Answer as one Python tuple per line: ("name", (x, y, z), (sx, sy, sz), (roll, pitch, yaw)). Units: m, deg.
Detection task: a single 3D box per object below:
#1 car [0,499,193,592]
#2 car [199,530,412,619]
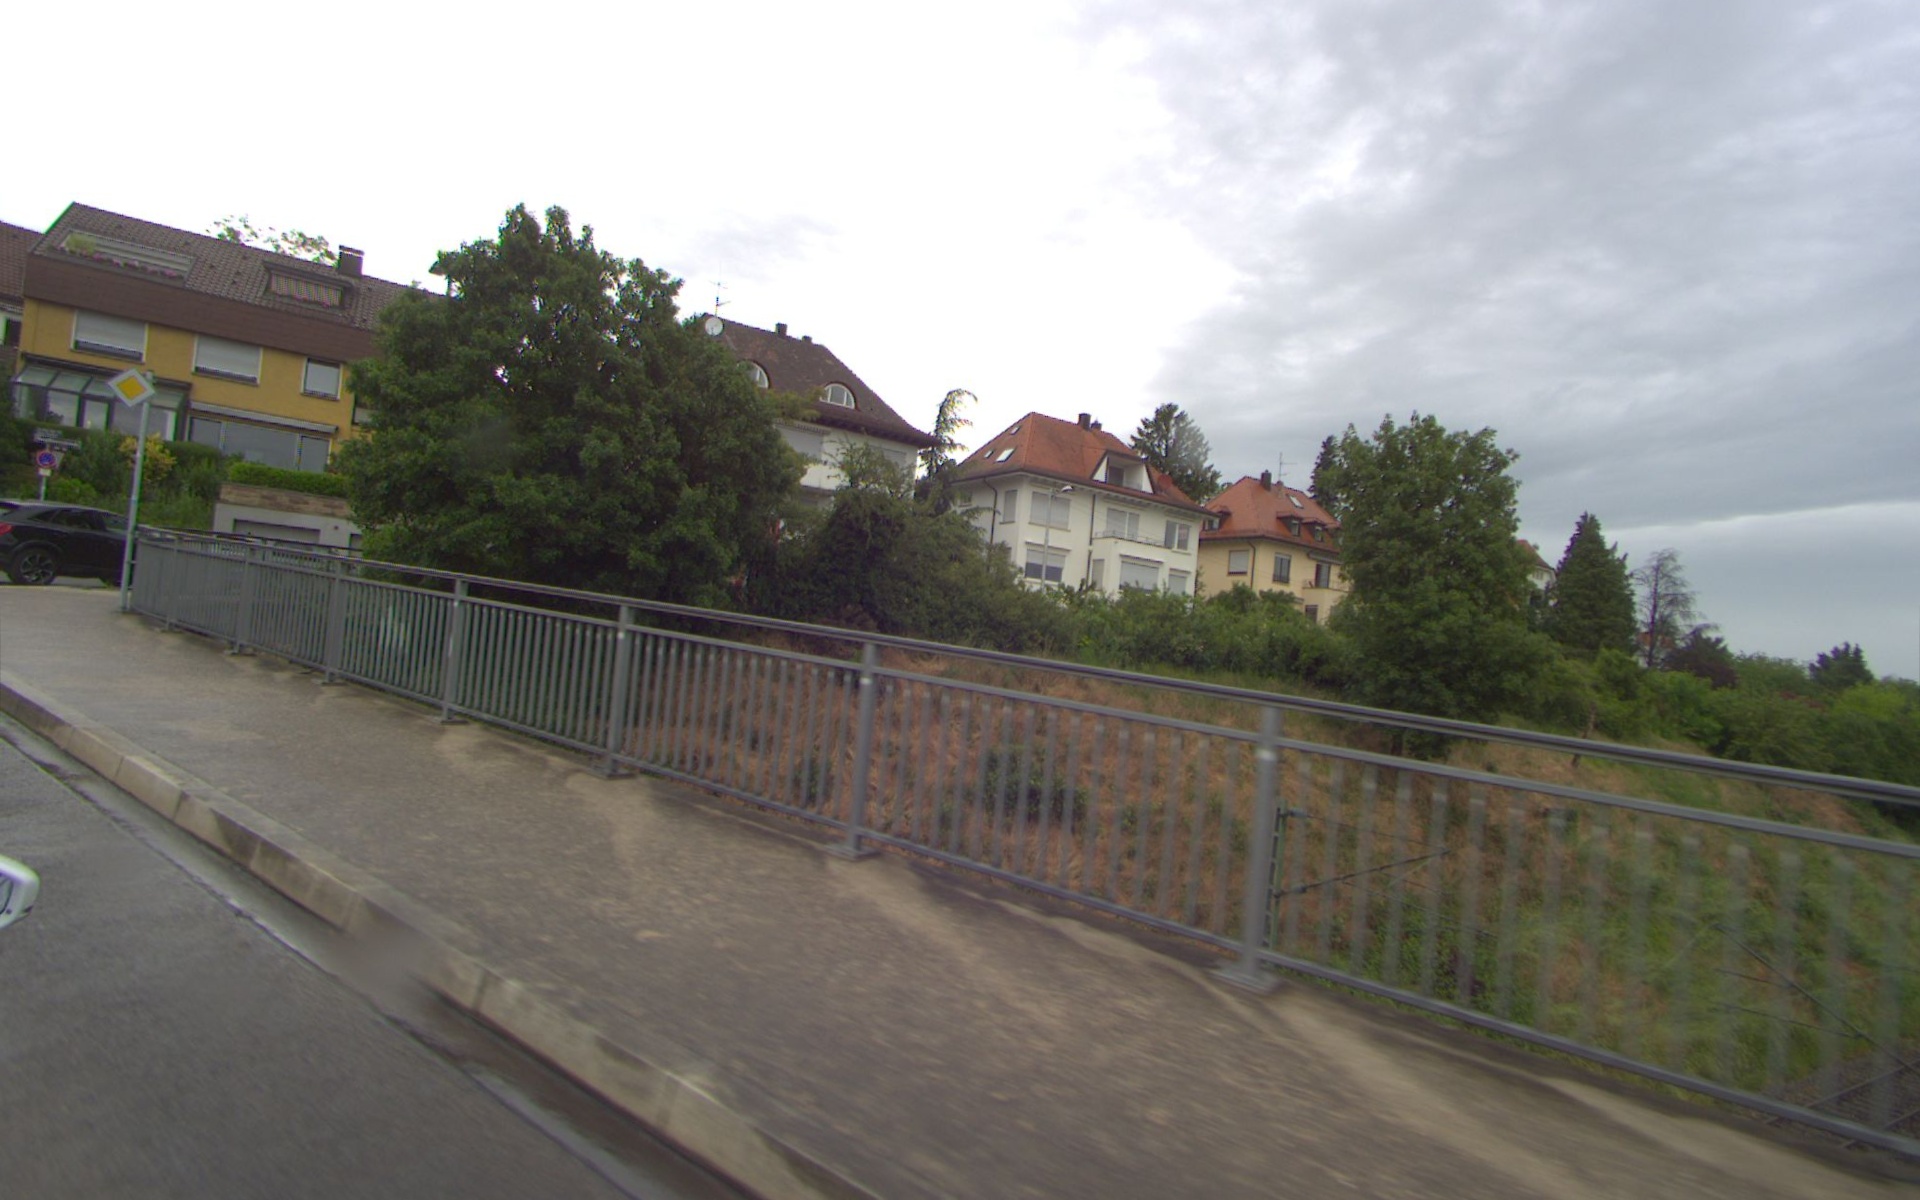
("car", (-17.081, -1.035, 19.052), (1.793, 1.441, 3.787), (8, 0, 8))
("car", (-15.583, -0.556, 24.179), (1.795, 1.439, 3.789), (6, -4, 25))
